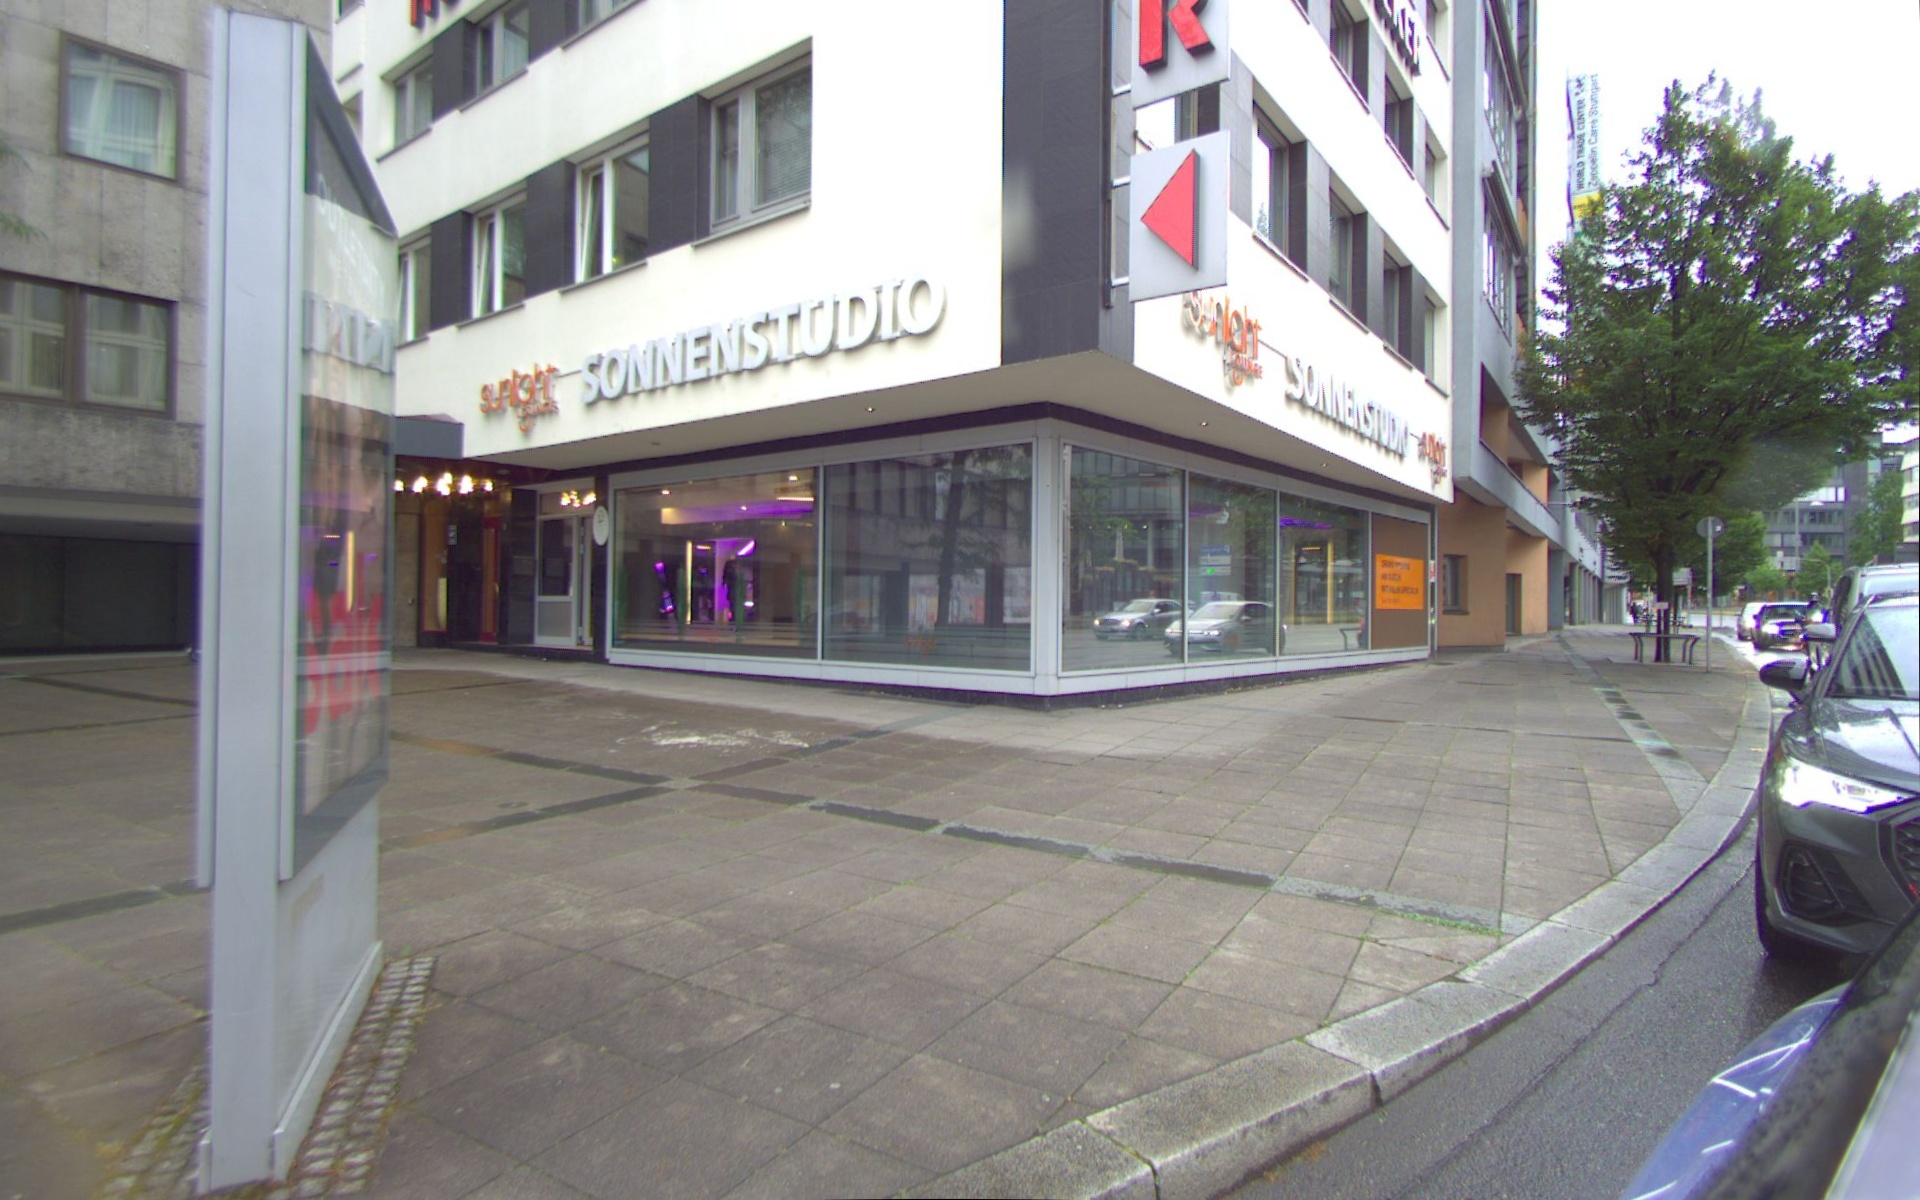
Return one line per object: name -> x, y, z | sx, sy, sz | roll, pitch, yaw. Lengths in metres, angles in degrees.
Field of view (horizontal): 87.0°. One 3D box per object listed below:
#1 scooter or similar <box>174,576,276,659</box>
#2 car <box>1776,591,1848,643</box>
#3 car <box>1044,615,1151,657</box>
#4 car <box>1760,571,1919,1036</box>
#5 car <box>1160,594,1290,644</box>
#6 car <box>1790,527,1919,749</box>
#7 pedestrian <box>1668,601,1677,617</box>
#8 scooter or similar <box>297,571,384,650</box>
scooter or similar -> -11.752, 0.264, 16.195 | 0.562, 1.269, 1.215 | 1, 1, 37
car -> 26.372, 0.505, 31.350 | 1.593, 1.487, 3.398 | -2, 0, 40
car -> 4.765, 1.231, 35.179 | 3.365, 1.347, 1.548 | -2, 0, 34
car -> 5.095, 0.645, 4.620 | 1.797, 1.572, 4.318 | -2, 0, 44
car -> 7.278, 0.489, 27.611 | 1.716, 1.209, 3.937 | -2, 0, 44
car -> 10.204, 0.281, 10.265 | 4.964, 1.916, 2.056 | -1, 0, -43
pedestrian -> 73.051, 0.947, 103.782 | 0.648, 1.618, 1.047 | -2, -1, 30
scooter or similar -> -11.098, 0.180, 18.142 | 0.516, 1.354, 1.215 | -2, -1, 37
